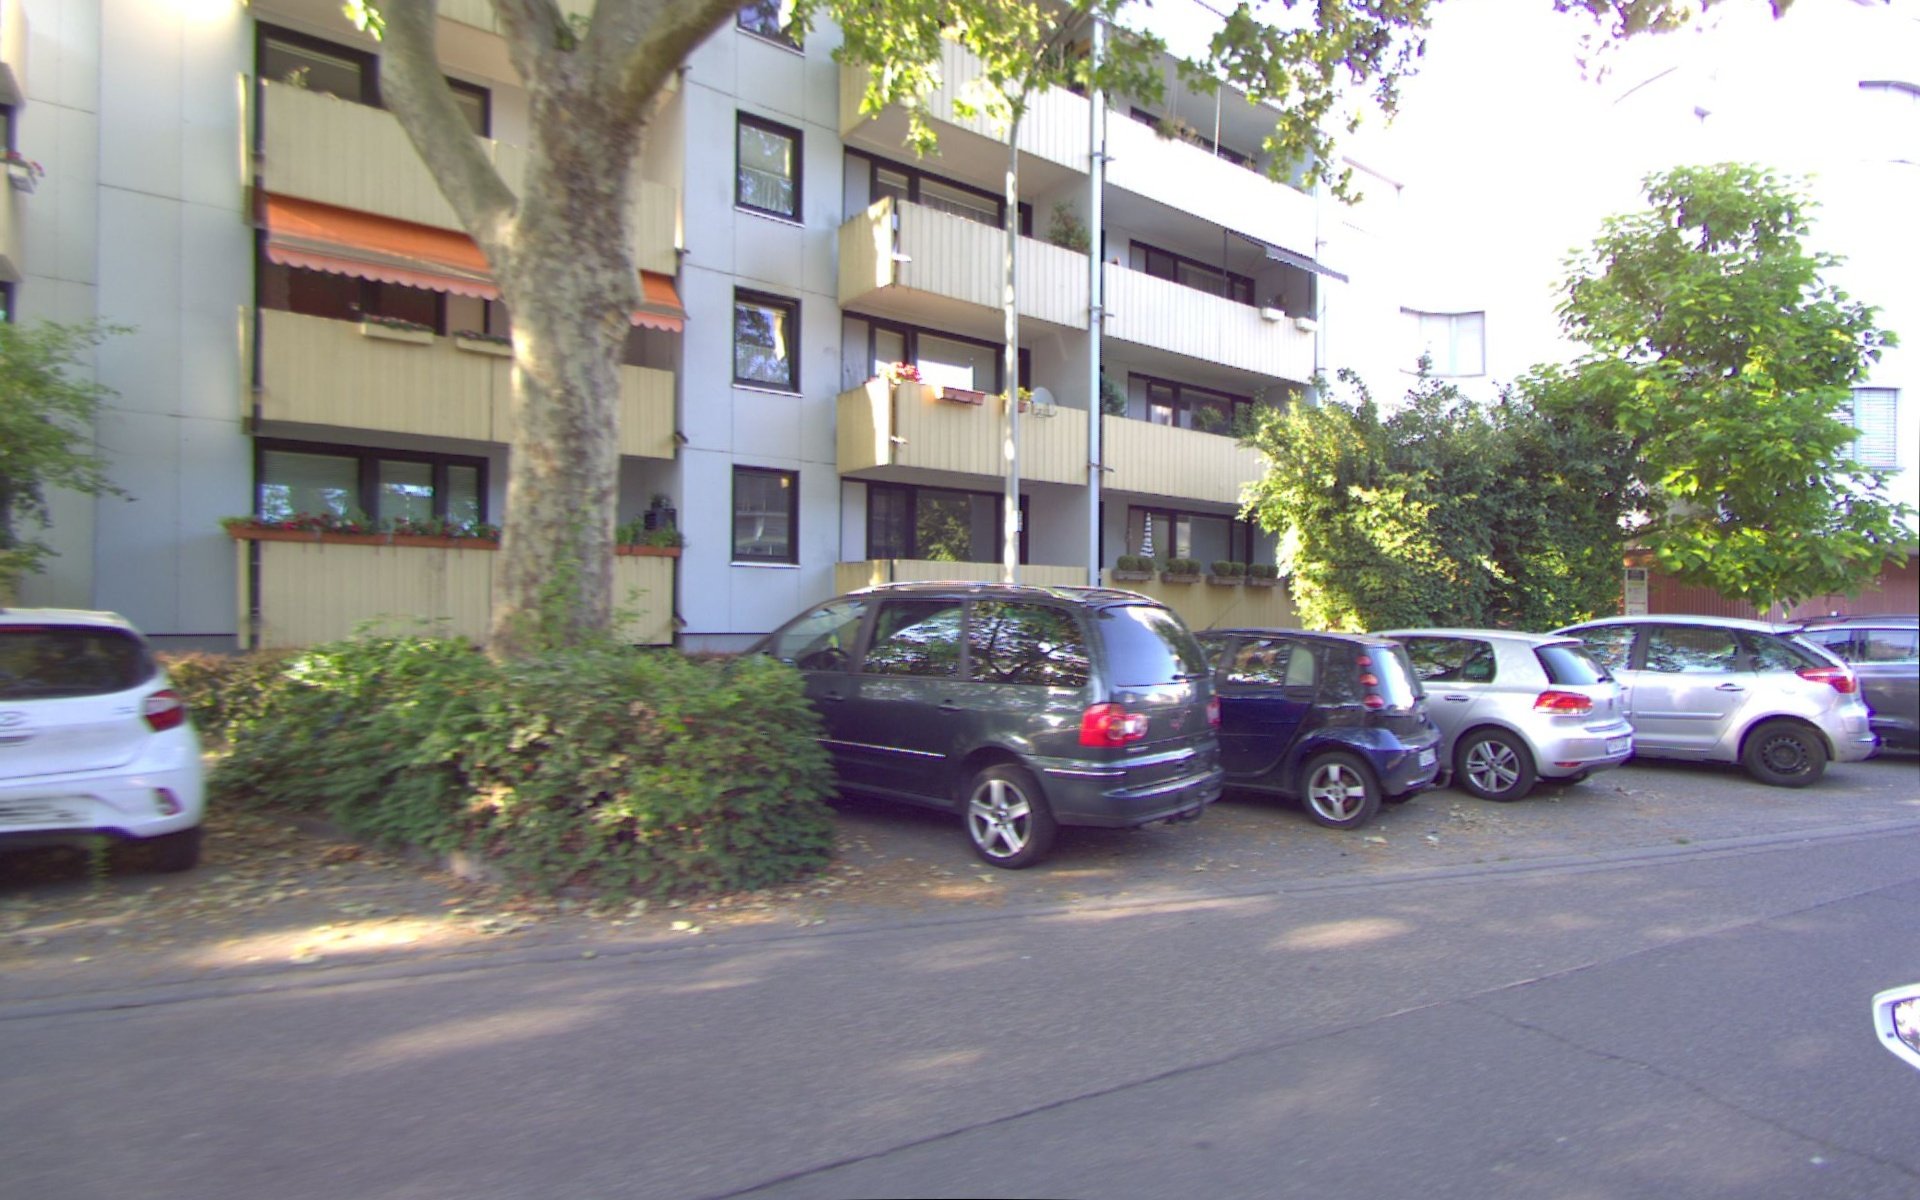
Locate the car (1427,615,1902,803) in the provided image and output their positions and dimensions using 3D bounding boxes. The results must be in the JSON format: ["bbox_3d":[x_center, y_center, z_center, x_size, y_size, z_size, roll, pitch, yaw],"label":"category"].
[{"bbox_3d":[7.661,1.052,11.289,4.074,1.662,1.770,1,0,38],"label":"car"}]

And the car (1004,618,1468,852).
[{"bbox_3d":[2.359,0.995,8.902,3.591,1.581,1.694,1,0,37],"label":"car"}]

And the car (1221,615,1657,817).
[{"bbox_3d":[4.656,0.987,10.152,1.686,1.581,3.608,2,-1,-39],"label":"car"}]

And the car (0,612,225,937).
[{"bbox_3d":[-5.970,0.872,6.182,3.610,1.514,1.766,1,1,44],"label":"car"}]

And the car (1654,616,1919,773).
[{"bbox_3d":[10.773,1.085,12.108,3.893,1.684,1.695,1,0,34],"label":"car"}]

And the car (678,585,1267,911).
[{"bbox_3d":[-0.074,0.820,7.650,4.204,1.799,1.898,1,-1,39],"label":"car"}]
